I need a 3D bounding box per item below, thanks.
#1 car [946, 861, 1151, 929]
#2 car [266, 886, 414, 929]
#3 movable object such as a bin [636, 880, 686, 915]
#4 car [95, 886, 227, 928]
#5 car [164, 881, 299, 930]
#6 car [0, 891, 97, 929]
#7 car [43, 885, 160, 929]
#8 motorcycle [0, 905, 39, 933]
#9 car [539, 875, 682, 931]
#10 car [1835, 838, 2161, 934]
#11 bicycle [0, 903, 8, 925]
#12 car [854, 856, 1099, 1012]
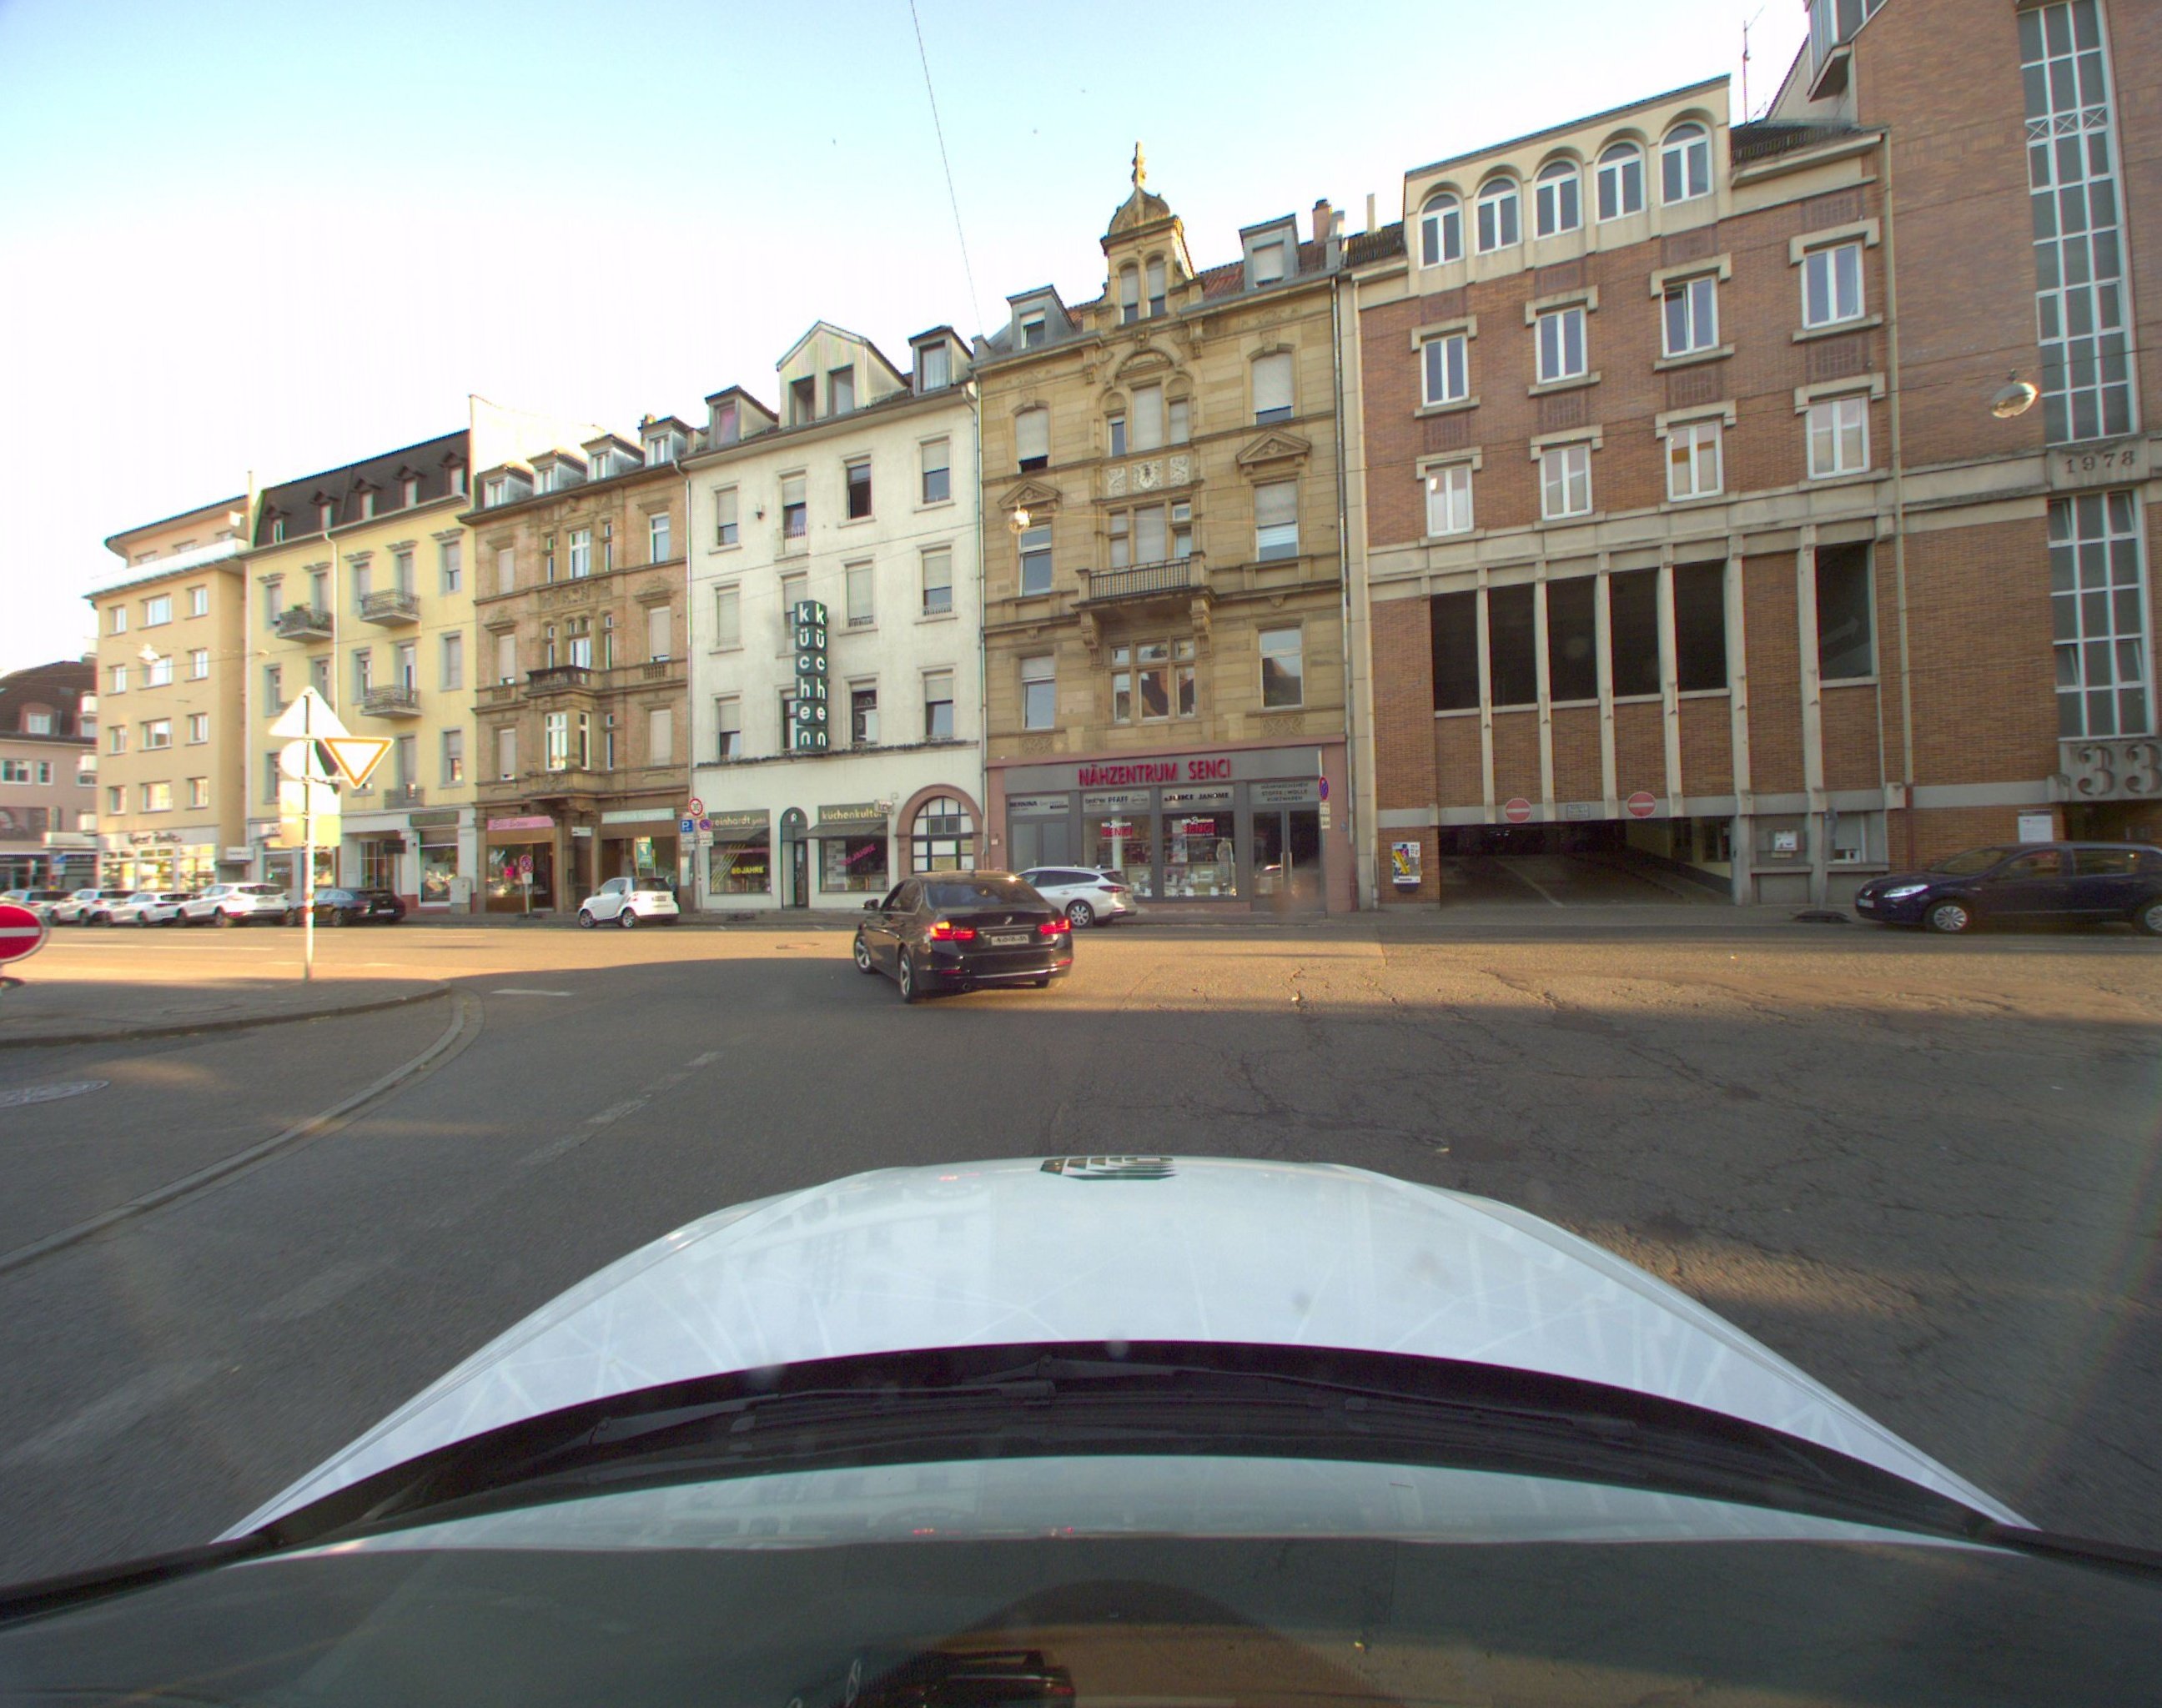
[{"bbox_3d":[-0.786,0.965,20.172,4.628,1.535,2.010,0,-1,19],"label":"car"},{"bbox_3d":[-27.008,1.939,29.686,4.793,1.434,2.010,-2,-2,21],"label":"car"},{"bbox_3d":[-14.868,1.542,28.838,1.382,1.186,0.873,-2,-1,20],"label":"movable object such as a bin"},{"bbox_3d":[-38.027,2.153,33.665,4.811,1.543,2.033,0,-1,21],"label":"car"},{"bbox_3d":[-32.725,1.932,31.381,4.604,1.745,1.898,0,-1,20],"label":"car"},{"bbox_3d":[-48.640,2.622,37.964,4.748,1.613,2.010,-2,-1,19],"label":"car"},{"bbox_3d":[-42.914,2.297,35.690,4.356,1.762,1.883,0,-1,20],"label":"car"},{"bbox_3d":[-53.293,3.236,40.391,0.708,1.263,1.827,-2,0,19],"label":"motorcycle"},{"bbox_3d":[-14.522,1.468,25.165,3.952,1.585,1.714,0,-1,21],"label":"car"},{"bbox_3d":[16.265,0.530,14.311,3.953,1.520,2.011,-1,0,21],"label":"car"},{"bbox_3d":[-55.370,3.042,40.758,0.586,1.112,1.899,-3,-2,18],"label":"bicycle"},{"bbox_3d":[-1.541,0.845,10.211,1.897,1.492,4.170,-1,-2,-24],"label":"car"}]
